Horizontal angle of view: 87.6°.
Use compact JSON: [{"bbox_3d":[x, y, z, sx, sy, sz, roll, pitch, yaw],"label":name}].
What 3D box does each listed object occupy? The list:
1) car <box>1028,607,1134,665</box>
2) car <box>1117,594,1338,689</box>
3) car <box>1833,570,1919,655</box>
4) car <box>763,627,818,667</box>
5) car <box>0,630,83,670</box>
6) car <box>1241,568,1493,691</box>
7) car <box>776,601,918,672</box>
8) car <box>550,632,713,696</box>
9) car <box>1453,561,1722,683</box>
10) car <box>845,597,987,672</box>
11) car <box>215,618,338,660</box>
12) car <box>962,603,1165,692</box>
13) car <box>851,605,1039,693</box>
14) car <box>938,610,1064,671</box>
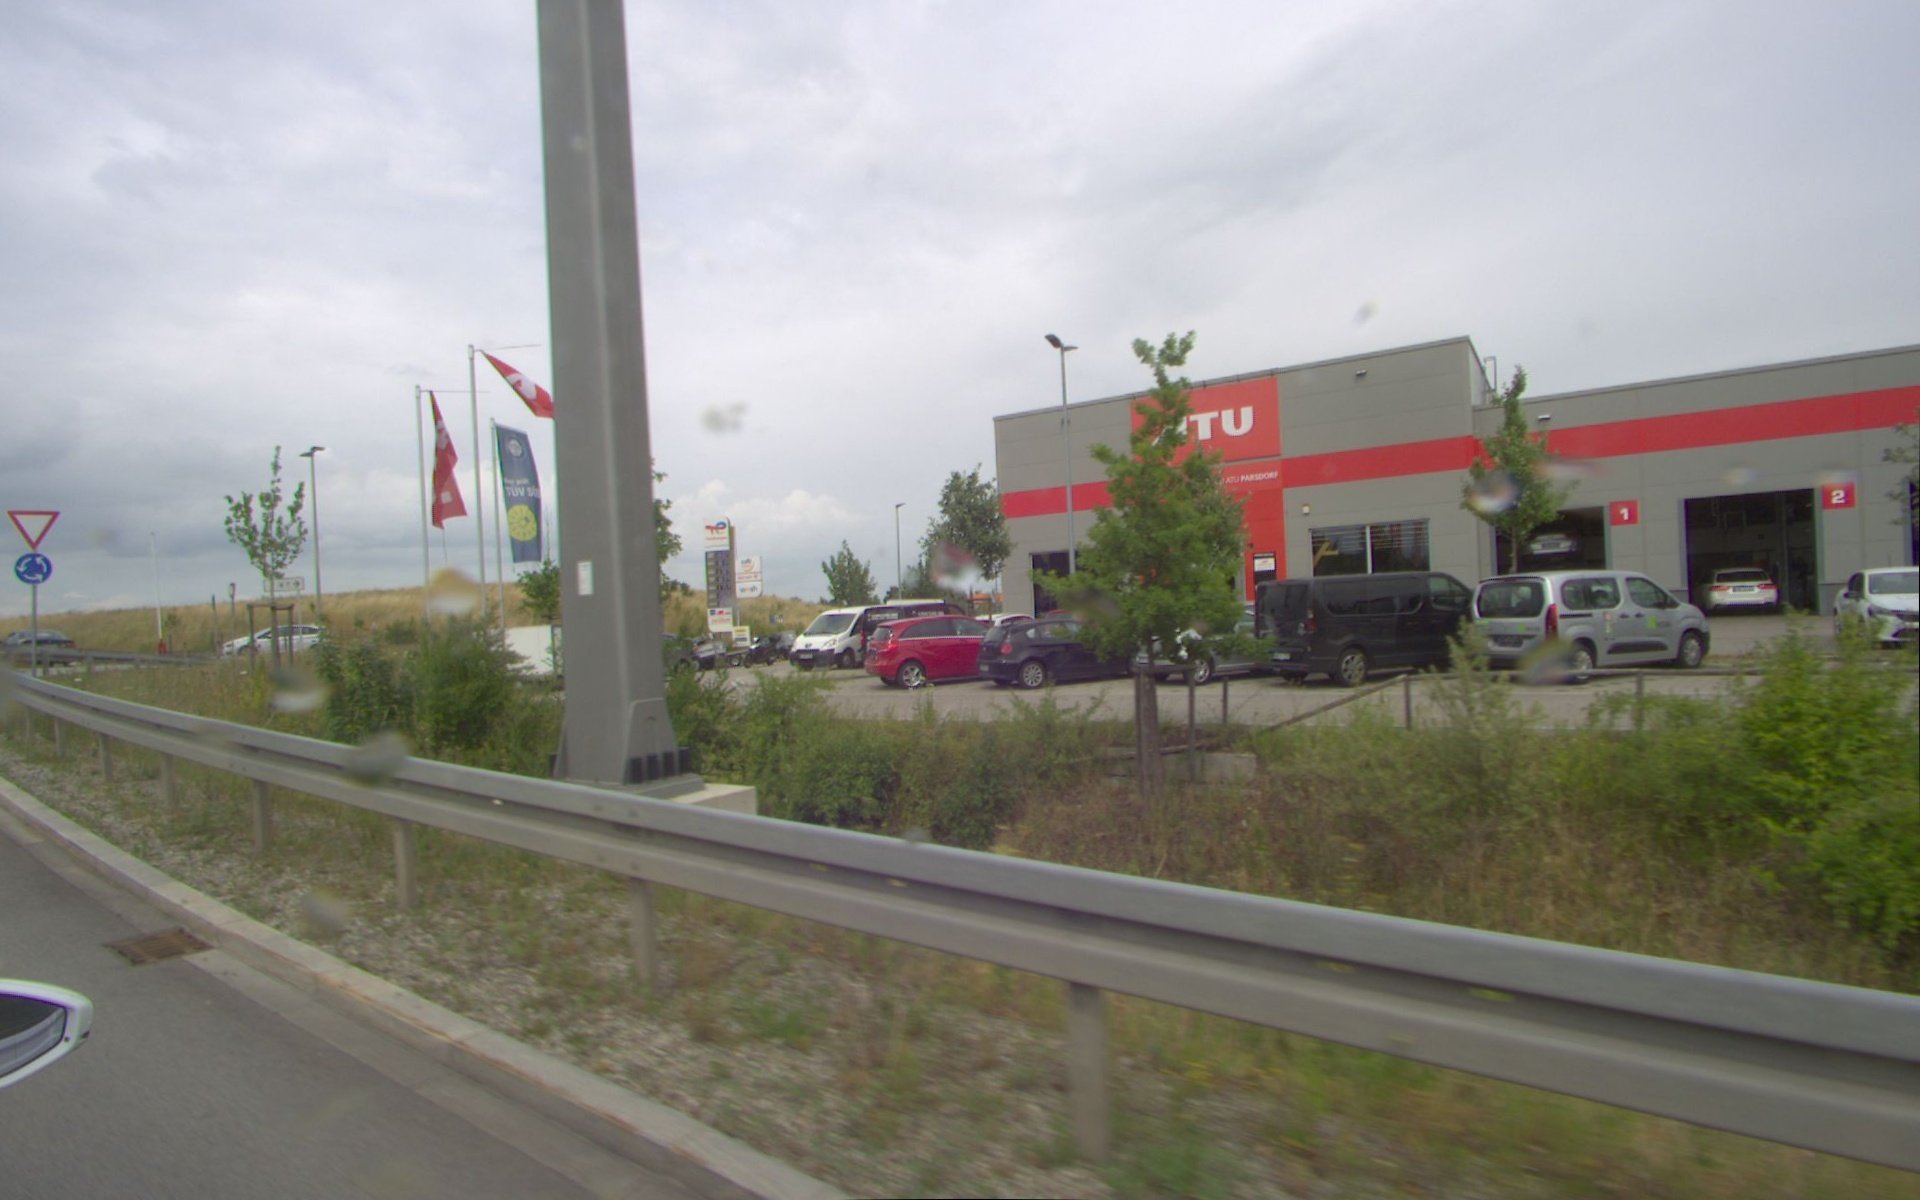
[{"bbox_3d":[3.534,1.034,28.719,1.567,1.518,4.185,-2,-3,28],"label":"car"},{"bbox_3d":[5.456,0.797,20.549,4.005,1.600,1.768,-3,1,-17],"label":"car"},{"bbox_3d":[17.740,0.167,18.700,1.569,1.440,4.177,-2,0,33],"label":"car"},{"bbox_3d":[-7.412,2.081,43.611,1.884,1.593,3.736,0,-4,-17],"label":"car"},{"bbox_3d":[-33.164,1.782,35.960,3.992,1.305,1.593,-2,1,35],"label":"car"},{"bbox_3d":[7.562,0.503,18.686,4.005,1.933,1.902,-3,1,-17],"label":"car"},{"bbox_3d":[-3.510,1.207,32.082,1.970,2.072,5.060,-2,-3,29],"label":"car"},{"bbox_3d":[-10.222,1.966,31.554,1.936,1.697,4.814,-2,-1,29],"label":"car"},{"bbox_3d":[10.795,0.341,17.257,4.008,1.734,1.901,-4,0,-22],"label":"car"},{"bbox_3d":[-1.230,1.003,30.652,1.970,1.998,5.055,-2,0,29],"label":"car"},{"bbox_3d":[-31.132,1.751,45.685,4.381,1.650,1.767,-2,1,-43],"label":"car"},{"bbox_3d":[2.269,1.000,22.007,4.007,1.600,1.767,-3,0,-21],"label":"car"},{"bbox_3d":[-0.357,1.146,23.879,4.008,1.599,1.767,-6,0,-22],"label":"car"},{"bbox_3d":[1.323,1.218,30.010,1.887,1.662,4.657,-2,-3,29],"label":"car"}]
